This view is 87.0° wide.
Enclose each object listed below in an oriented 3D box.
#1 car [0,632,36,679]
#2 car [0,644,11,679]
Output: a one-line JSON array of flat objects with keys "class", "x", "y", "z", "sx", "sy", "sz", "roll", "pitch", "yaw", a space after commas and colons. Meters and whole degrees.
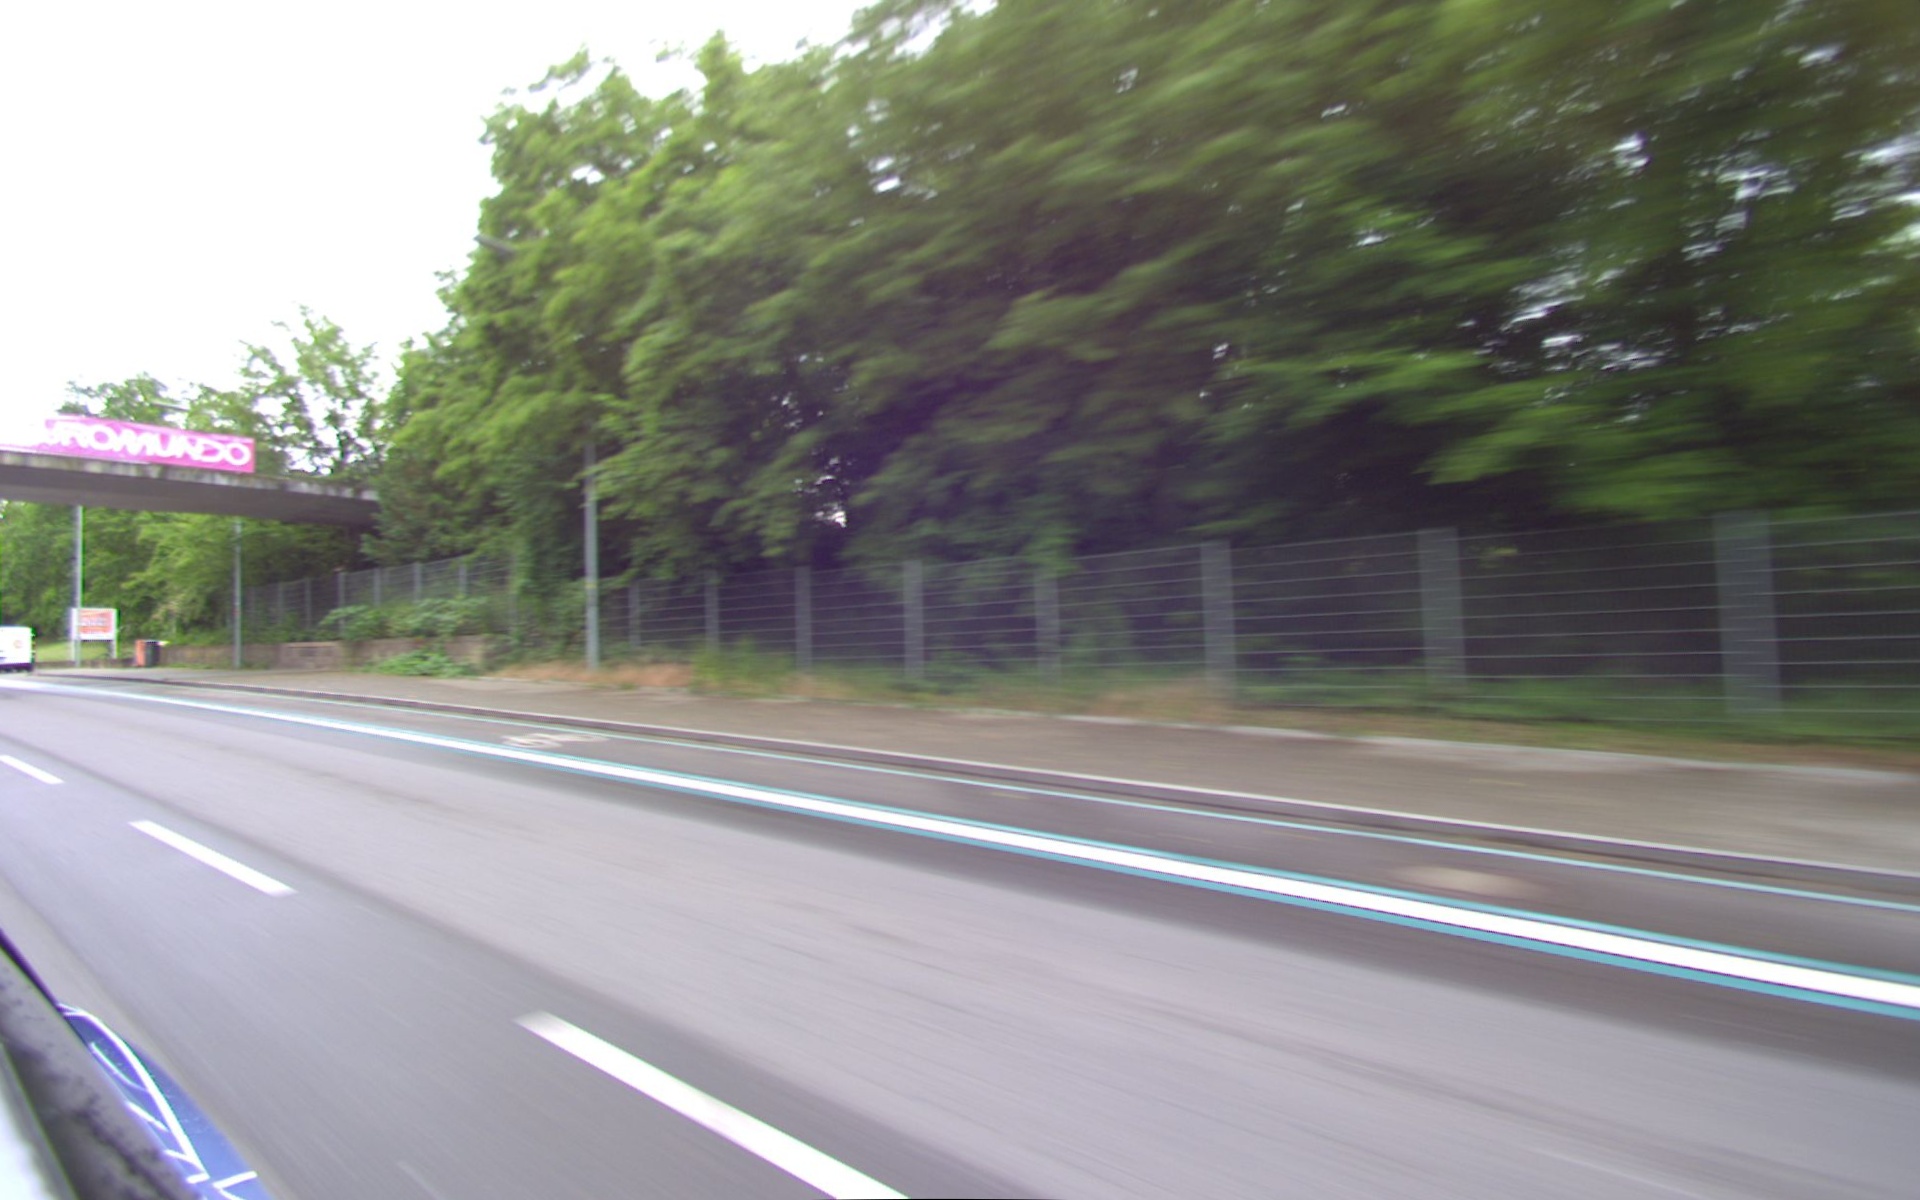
[{"class": "car", "x": -42.098, "y": 2.492, "z": 44.201, "sx": 5.223, "sy": 1.929, "sz": 1.958, "roll": -5, "pitch": -4, "yaw": 41}, {"class": "car", "x": -47.770, "y": 3.046, "z": 49.074, "sx": 4.656, "sy": 1.628, "sz": 1.807, "roll": -4, "pitch": -4, "yaw": 38}]
